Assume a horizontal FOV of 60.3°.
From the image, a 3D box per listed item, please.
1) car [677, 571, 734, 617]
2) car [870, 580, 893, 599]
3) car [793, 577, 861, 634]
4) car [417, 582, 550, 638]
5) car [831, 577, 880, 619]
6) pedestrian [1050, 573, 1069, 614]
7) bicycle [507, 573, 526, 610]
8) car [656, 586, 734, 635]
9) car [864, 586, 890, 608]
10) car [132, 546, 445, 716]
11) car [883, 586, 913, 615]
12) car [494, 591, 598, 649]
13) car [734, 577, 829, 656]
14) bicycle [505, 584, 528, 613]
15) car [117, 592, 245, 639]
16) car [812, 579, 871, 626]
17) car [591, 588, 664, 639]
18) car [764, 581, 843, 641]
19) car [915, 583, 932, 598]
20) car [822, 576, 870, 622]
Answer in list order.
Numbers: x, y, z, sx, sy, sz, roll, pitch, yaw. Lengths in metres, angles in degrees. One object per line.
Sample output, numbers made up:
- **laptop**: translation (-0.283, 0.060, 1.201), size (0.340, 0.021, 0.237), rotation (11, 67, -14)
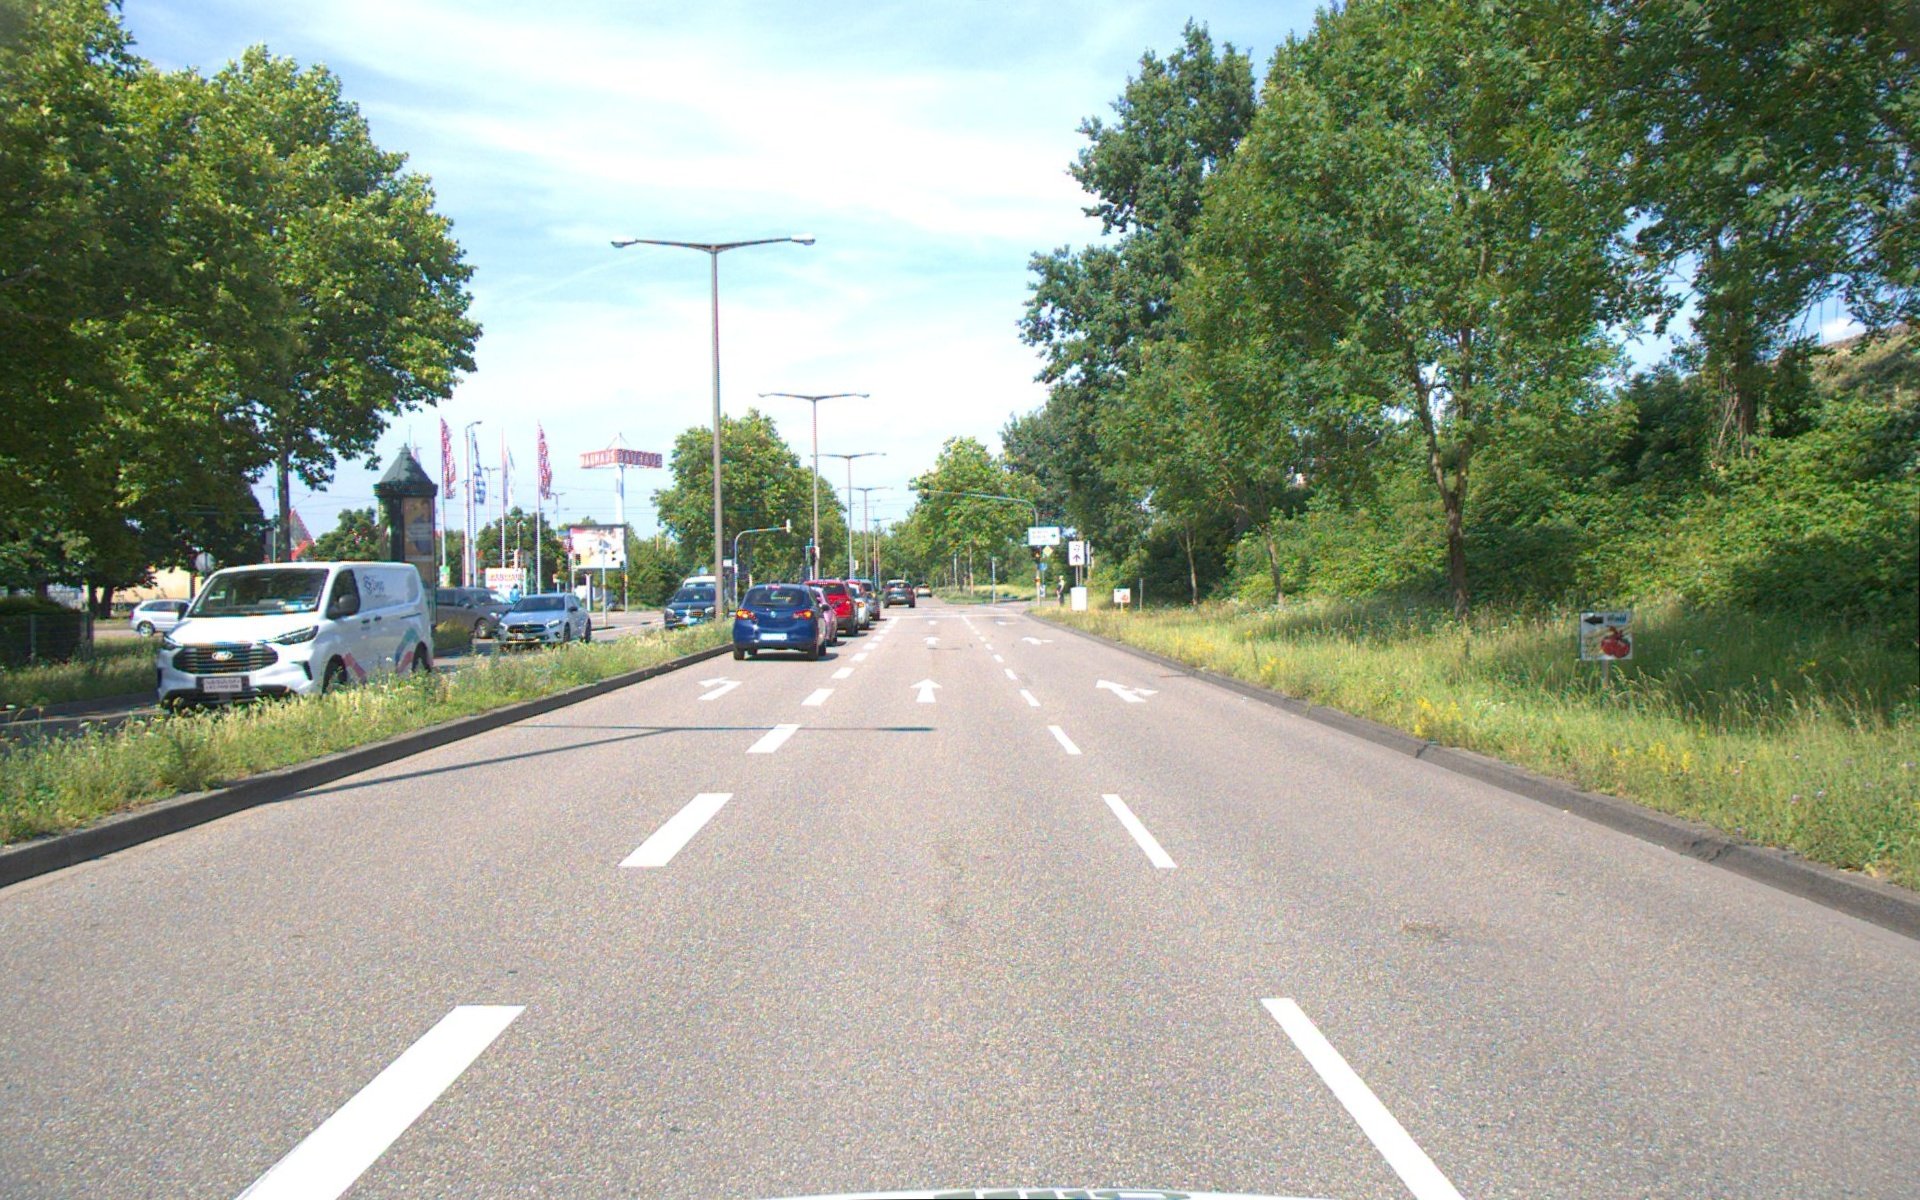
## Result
- **car**: translation (-12.195, -0.319, 79.551), size (1.953, 2.049, 5.212), rotation (-2, 1, -1)
- **car**: translation (-7.516, -0.996, 158.518), size (1.953, 1.738, 4.263), rotation (-1, 0, -1)
- **car**: translation (-3.858, 0.126, 48.597), size (1.746, 1.620, 4.592), rotation (0, 1, -2)
- **car**: translation (-16.361, 0.348, 56.733), size (4.301, 1.781, 1.866), rotation (-1, 0, 29)
- **car**: translation (-4.246, -0.091, 67.766), size (1.843, 1.646, 4.211), rotation (-1, 0, -2)
- **pedestrian**: translation (4.938, -0.334, 81.907), size (0.821, 1.966, 0.771), rotation (-1, 2, -5)
- **bicycle**: translation (-20.358, -0.384, 75.888), size (0.659, 1.643, 0.991), rotation (-2, 0, -6)
- **car**: translation (-9.081, 0.332, 57.004), size (1.953, 1.557, 4.681), rotation (-2, 0, -1)
- **car**: translation (-6.947, -0.261, 138.250), size (1.953, 1.774, 4.264), rotation (-1, 0, -1)
- **car**: translation (-8.671, 0.332, 22.002), size (2.074, 1.916, 5.417), rotation (-2, 1, -2)
- **car**: translation (-3.812, 0.000, 102.094), size (1.701, 1.562, 4.001), rotation (0, 3, -1)
- **car**: translation (-11.155, 0.505, 44.853), size (1.751, 1.422, 4.358), rotation (-2, 0, -1)
- **car**: translation (-3.587, 0.297, 33.761), size (1.593, 1.509, 4.047), rotation (1, 1, -2)
- **bicycle**: translation (-20.360, -0.075, 75.960), size (0.659, 1.278, 2.244), rotation (-2, 0, -6)
- **car**: translation (-29.125, 0.579, 61.875), size (4.061, 1.631, 1.724), rotation (-2, 0, 11)
- **car**: translation (-3.886, 0.057, 54.683), size (1.730, 1.505, 4.134), rotation (0, 1, -2)
- **car**: translation (-12.099, 0.468, 60.422), size (1.937, 1.722, 3.998), rotation (-2, 0, -2)
- **car**: translation (-3.871, 0.232, 41.489), size (1.668, 1.414, 4.471), rotation (1, 1, -2)
- **car**: translation (-4.125, -1.078, 187.300), size (1.830, 1.601, 3.999), rotation (-2, 0, -1)
- **car**: translation (-4.192, -0.033, 61.379), size (1.595, 1.623, 3.916), rotation (-1, 0, -2)
